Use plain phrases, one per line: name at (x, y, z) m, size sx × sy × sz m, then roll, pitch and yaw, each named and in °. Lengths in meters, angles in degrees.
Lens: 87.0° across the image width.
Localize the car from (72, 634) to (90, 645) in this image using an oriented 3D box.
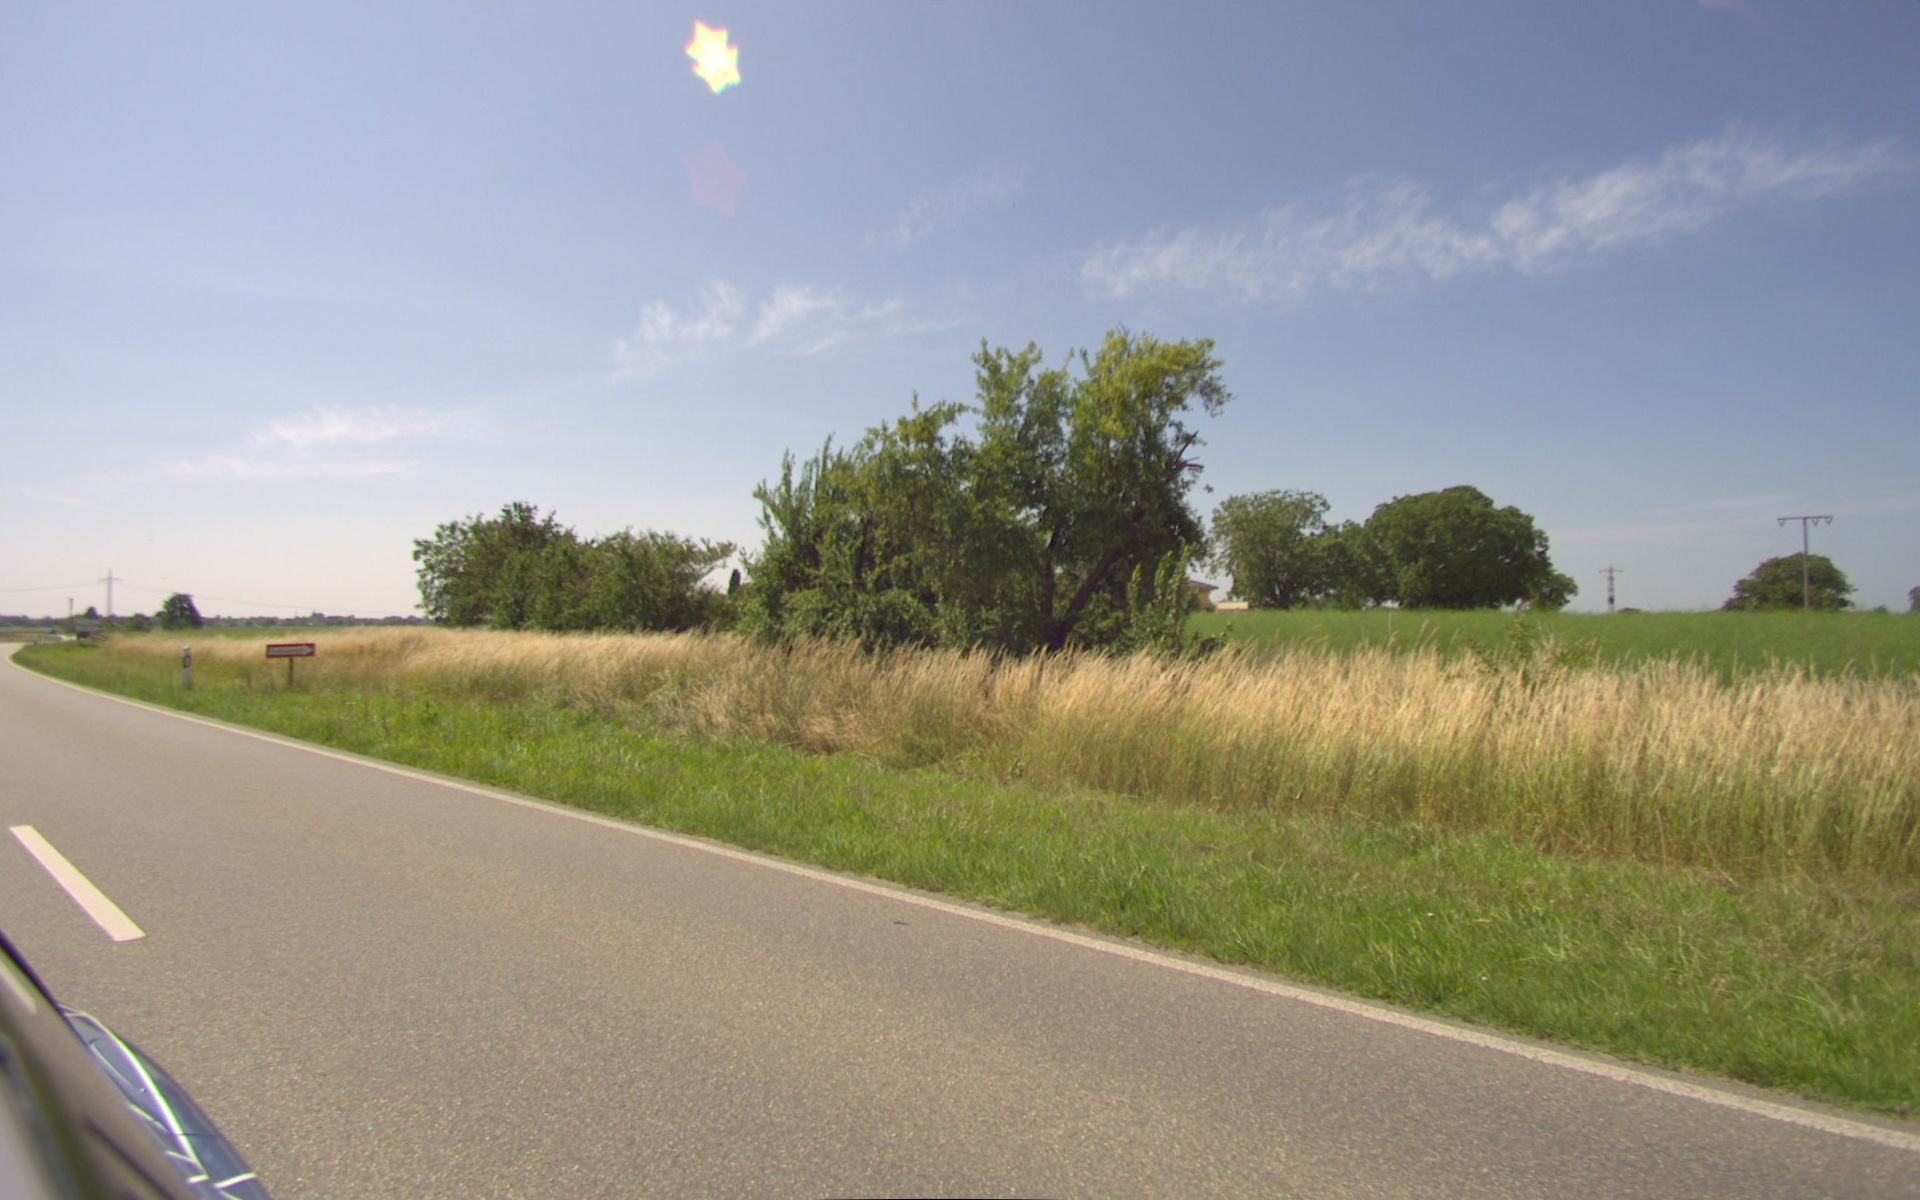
car at (-142.925, 6.457, 164.563) m, size 1.908 × 1.765 × 5.213 m, roll 3°, pitch -4°, yaw -39°
